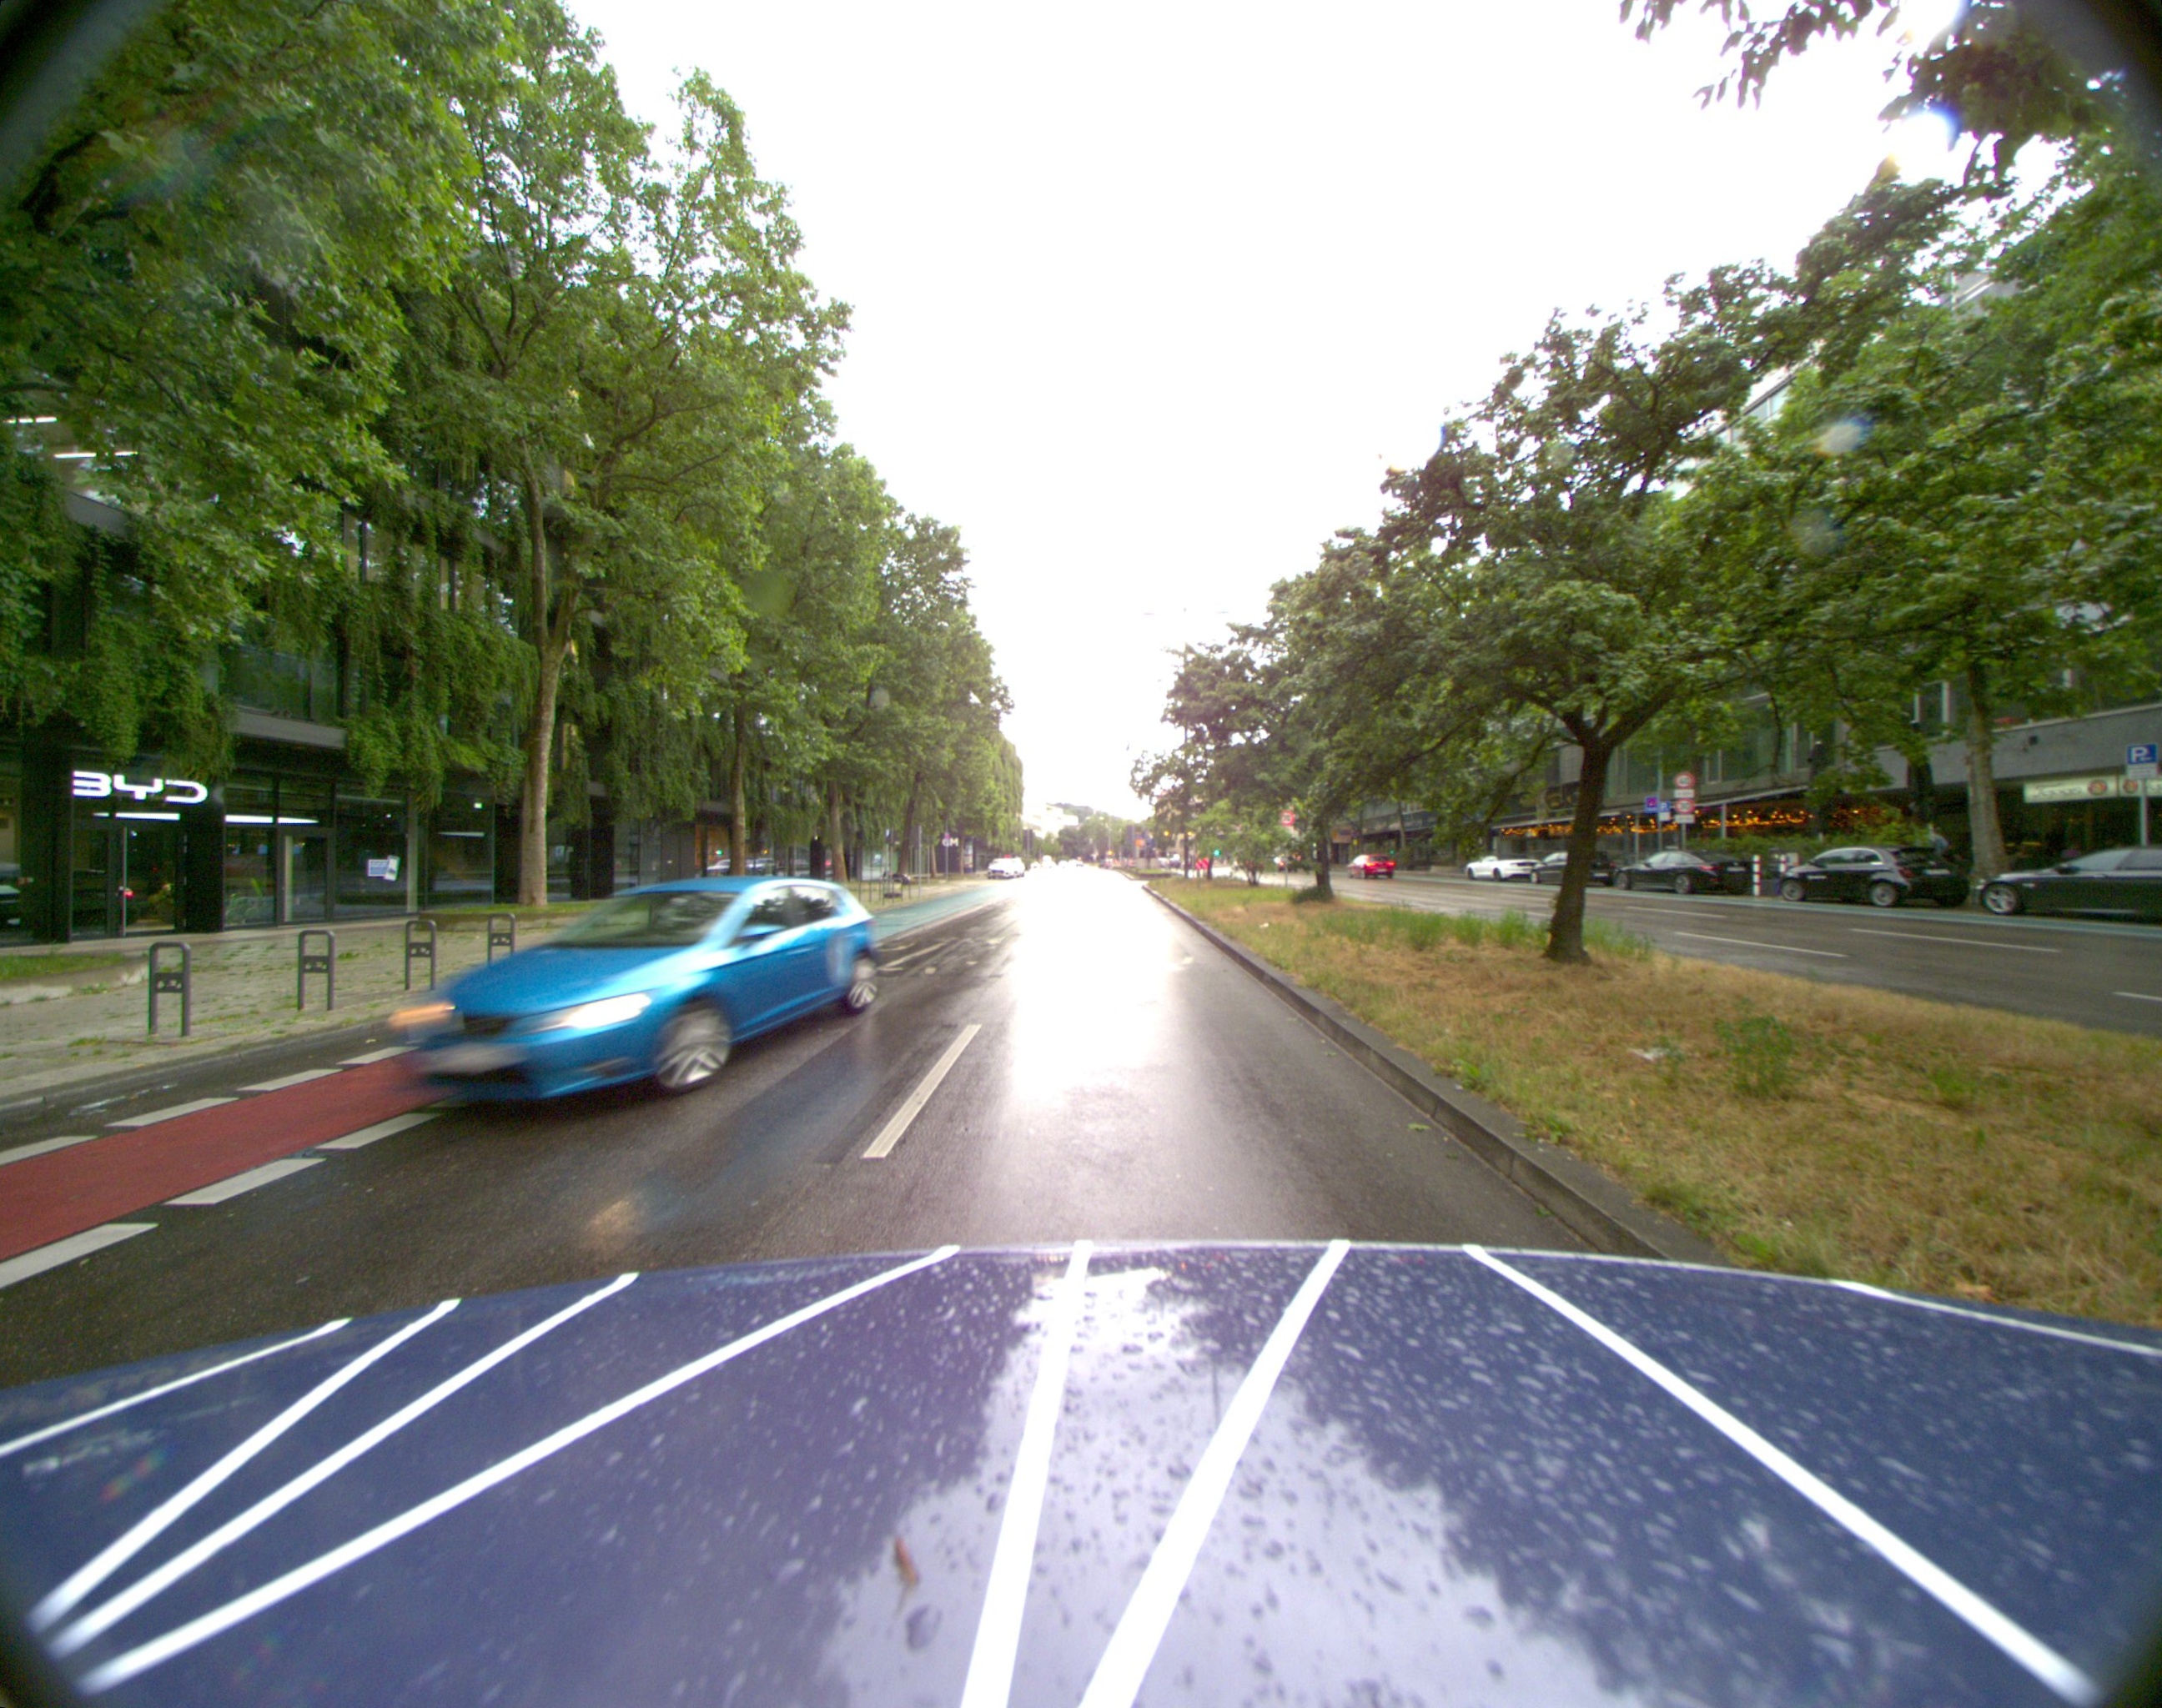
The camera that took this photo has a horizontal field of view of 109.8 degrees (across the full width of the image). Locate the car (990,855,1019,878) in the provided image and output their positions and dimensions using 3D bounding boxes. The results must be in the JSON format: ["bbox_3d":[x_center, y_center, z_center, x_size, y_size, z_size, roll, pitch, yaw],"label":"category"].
[{"bbox_3d":[-6.448,1.003,64.321,1.932,1.726,4.598,-2,1,0],"label":"car"}]

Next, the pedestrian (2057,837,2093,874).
[{"bbox_3d":[27.756,0.045,21.220,0.464,1.010,0.424,-2,1,-1],"label":"pedestrian"}]

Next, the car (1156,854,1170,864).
[{"bbox_3d":[12.375,0.740,114.669,1.678,1.381,3.527,-2,1,-2],"label":"car"}]

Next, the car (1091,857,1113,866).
[{"bbox_3d":[3.788,1.400,138.102,3.451,1.450,1.653,-2,1,30],"label":"car"}]

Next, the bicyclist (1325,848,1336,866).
[{"bbox_3d":[21.605,0.270,65.905,0.715,1.561,0.609,-2,1,3],"label":"bicyclist"}]

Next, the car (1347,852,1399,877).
[{"bbox_3d":[17.604,0.610,45.905,1.765,1.318,3.738,-2,1,2],"label":"car"}]

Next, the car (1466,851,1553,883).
[{"bbox_3d":[20.754,0.584,37.045,1.881,1.318,4.392,-2,1,2],"label":"car"}]

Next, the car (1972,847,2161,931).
[{"bbox_3d":[19.885,0.615,13.976,1.875,1.377,4.537,-2,1,5],"label":"car"}]

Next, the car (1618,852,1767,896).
[{"bbox_3d":[20.195,0.615,25.361,1.647,1.232,4.319,-2,1,3],"label":"car"}]

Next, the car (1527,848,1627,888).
[{"bbox_3d":[20.460,0.528,31.512,1.750,1.445,3.788,-2,1,2],"label":"car"}]

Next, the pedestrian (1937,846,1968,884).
[{"bbox_3d":[27.772,0.353,24.208,0.466,1.179,0.446,-2,1,13],"label":"pedestrian"}]

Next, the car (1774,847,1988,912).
[{"bbox_3d":[20.019,0.563,19.244,1.875,1.414,3.400,-2,1,2],"label":"car"}]

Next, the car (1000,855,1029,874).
[{"bbox_3d":[-6.082,0.970,70.394,2.036,1.553,4.585,-2,1,2],"label":"car"}]

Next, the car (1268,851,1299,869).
[{"bbox_3d":[18.156,0.531,68.203,1.868,1.408,4.105,-2,1,4],"label":"car"}]

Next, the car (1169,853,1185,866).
[{"bbox_3d":[13.148,0.743,103.974,1.881,1.567,3.820,-2,1,3],"label":"car"}]

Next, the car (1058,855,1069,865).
[{"bbox_3d":[-2.703,0.912,120.310,1.556,1.534,3.663,-2,1,1],"label":"car"}]

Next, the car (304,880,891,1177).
[{"bbox_3d":[-3.286,1.033,6.299,1.798,1.428,4.065,-1,1,10],"label":"car"}]

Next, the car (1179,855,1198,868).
[{"bbox_3d":[12.742,0.869,90.225,1.678,1.381,3.527,-2,1,-2],"label":"car"}]

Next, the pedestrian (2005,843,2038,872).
[{"bbox_3d":[27.944,0.106,22.587,0.440,0.845,0.433,-2,1,-1],"label":"pedestrian"}]

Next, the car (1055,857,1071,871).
[{"bbox_3d":[-2.188,1.240,95.437,1.780,1.546,3.929,-2,1,1],"label":"car"}]

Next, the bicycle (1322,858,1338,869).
[{"bbox_3d":[21.629,0.822,65.994,0.715,0.838,2.231,-2,1,3],"label":"bicycle"}]
